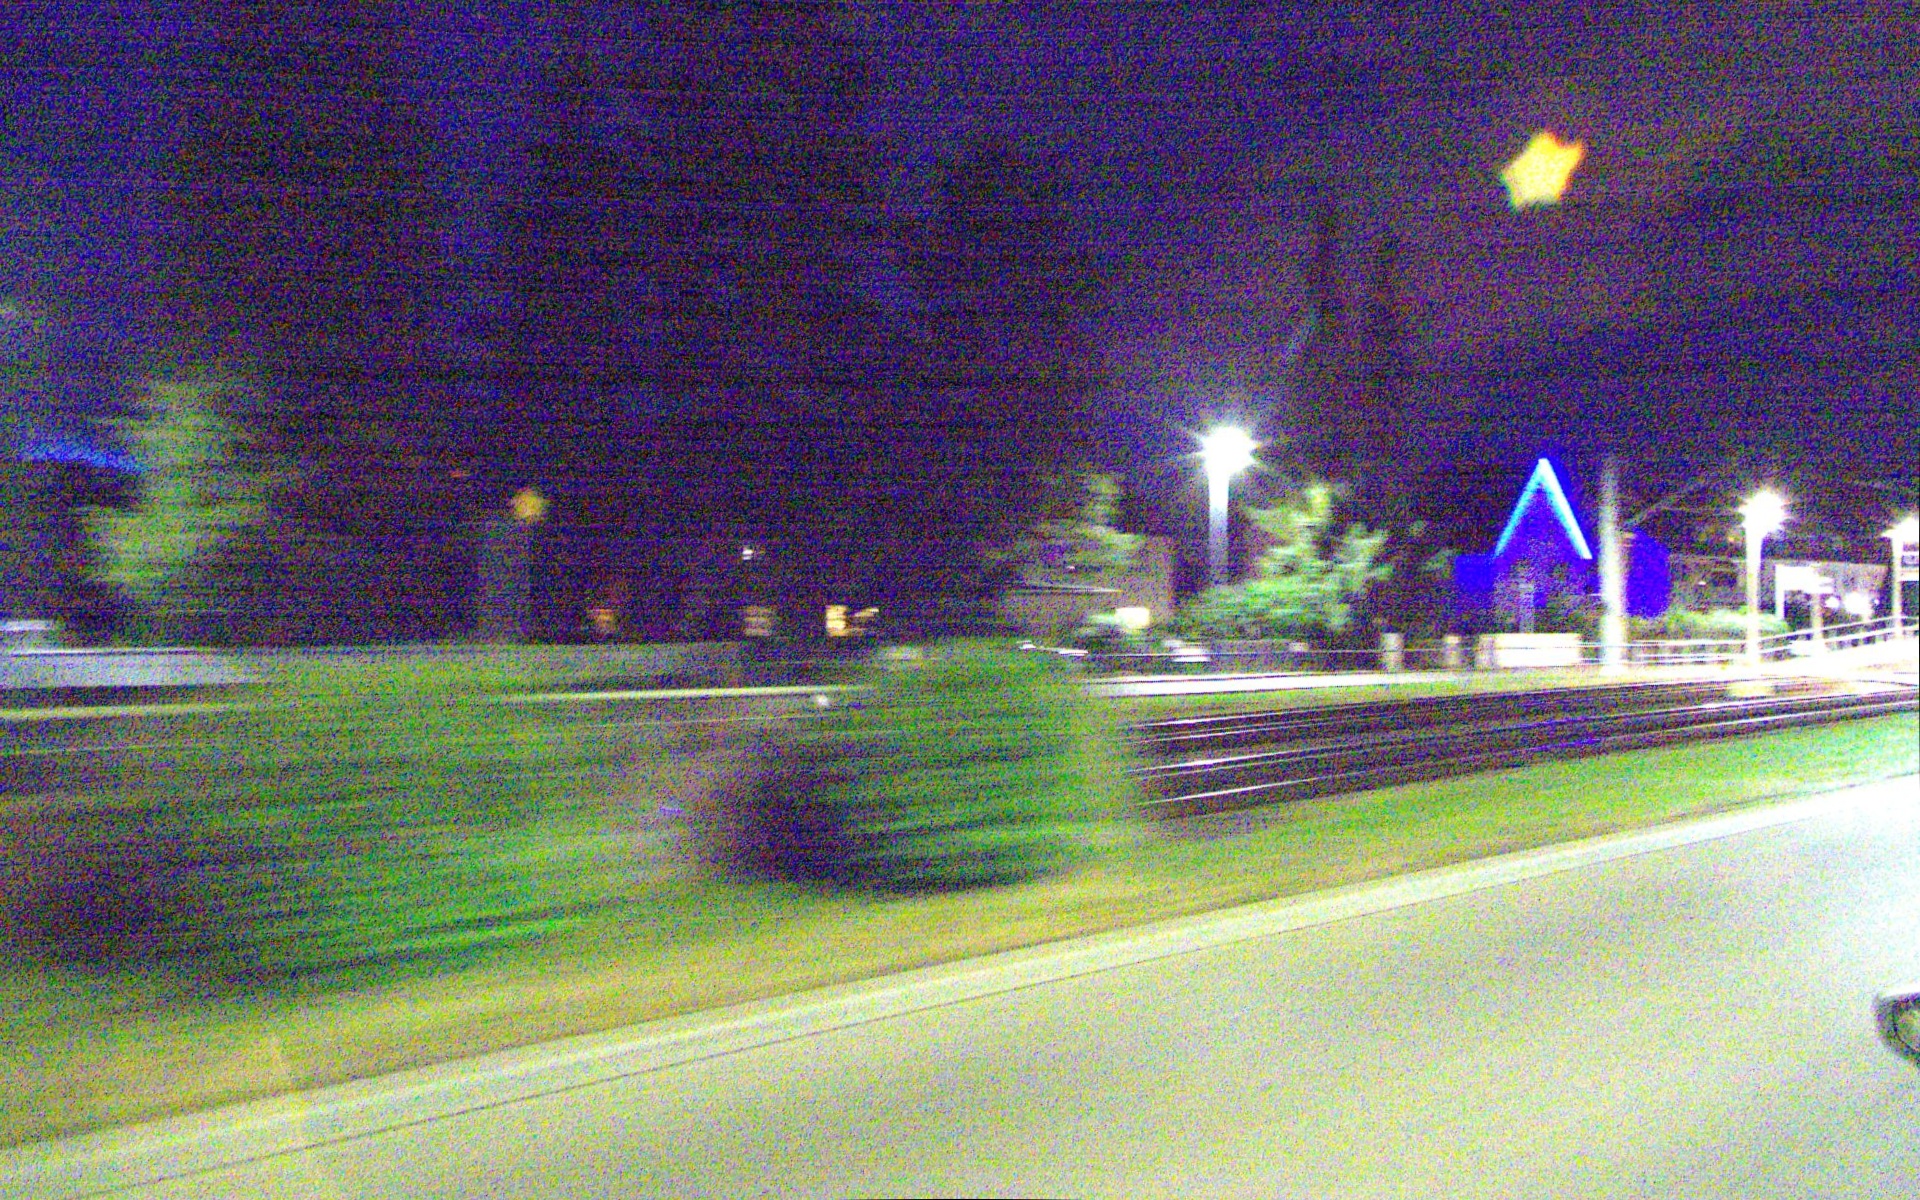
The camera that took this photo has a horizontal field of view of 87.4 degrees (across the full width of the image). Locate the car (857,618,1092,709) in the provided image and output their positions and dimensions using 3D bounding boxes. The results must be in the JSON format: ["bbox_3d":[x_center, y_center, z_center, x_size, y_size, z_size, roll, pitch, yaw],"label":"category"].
[{"bbox_3d":[0.307,1.131,18.741,4.049,1.525,1.856,1,-2,-32],"label":"car"}]
